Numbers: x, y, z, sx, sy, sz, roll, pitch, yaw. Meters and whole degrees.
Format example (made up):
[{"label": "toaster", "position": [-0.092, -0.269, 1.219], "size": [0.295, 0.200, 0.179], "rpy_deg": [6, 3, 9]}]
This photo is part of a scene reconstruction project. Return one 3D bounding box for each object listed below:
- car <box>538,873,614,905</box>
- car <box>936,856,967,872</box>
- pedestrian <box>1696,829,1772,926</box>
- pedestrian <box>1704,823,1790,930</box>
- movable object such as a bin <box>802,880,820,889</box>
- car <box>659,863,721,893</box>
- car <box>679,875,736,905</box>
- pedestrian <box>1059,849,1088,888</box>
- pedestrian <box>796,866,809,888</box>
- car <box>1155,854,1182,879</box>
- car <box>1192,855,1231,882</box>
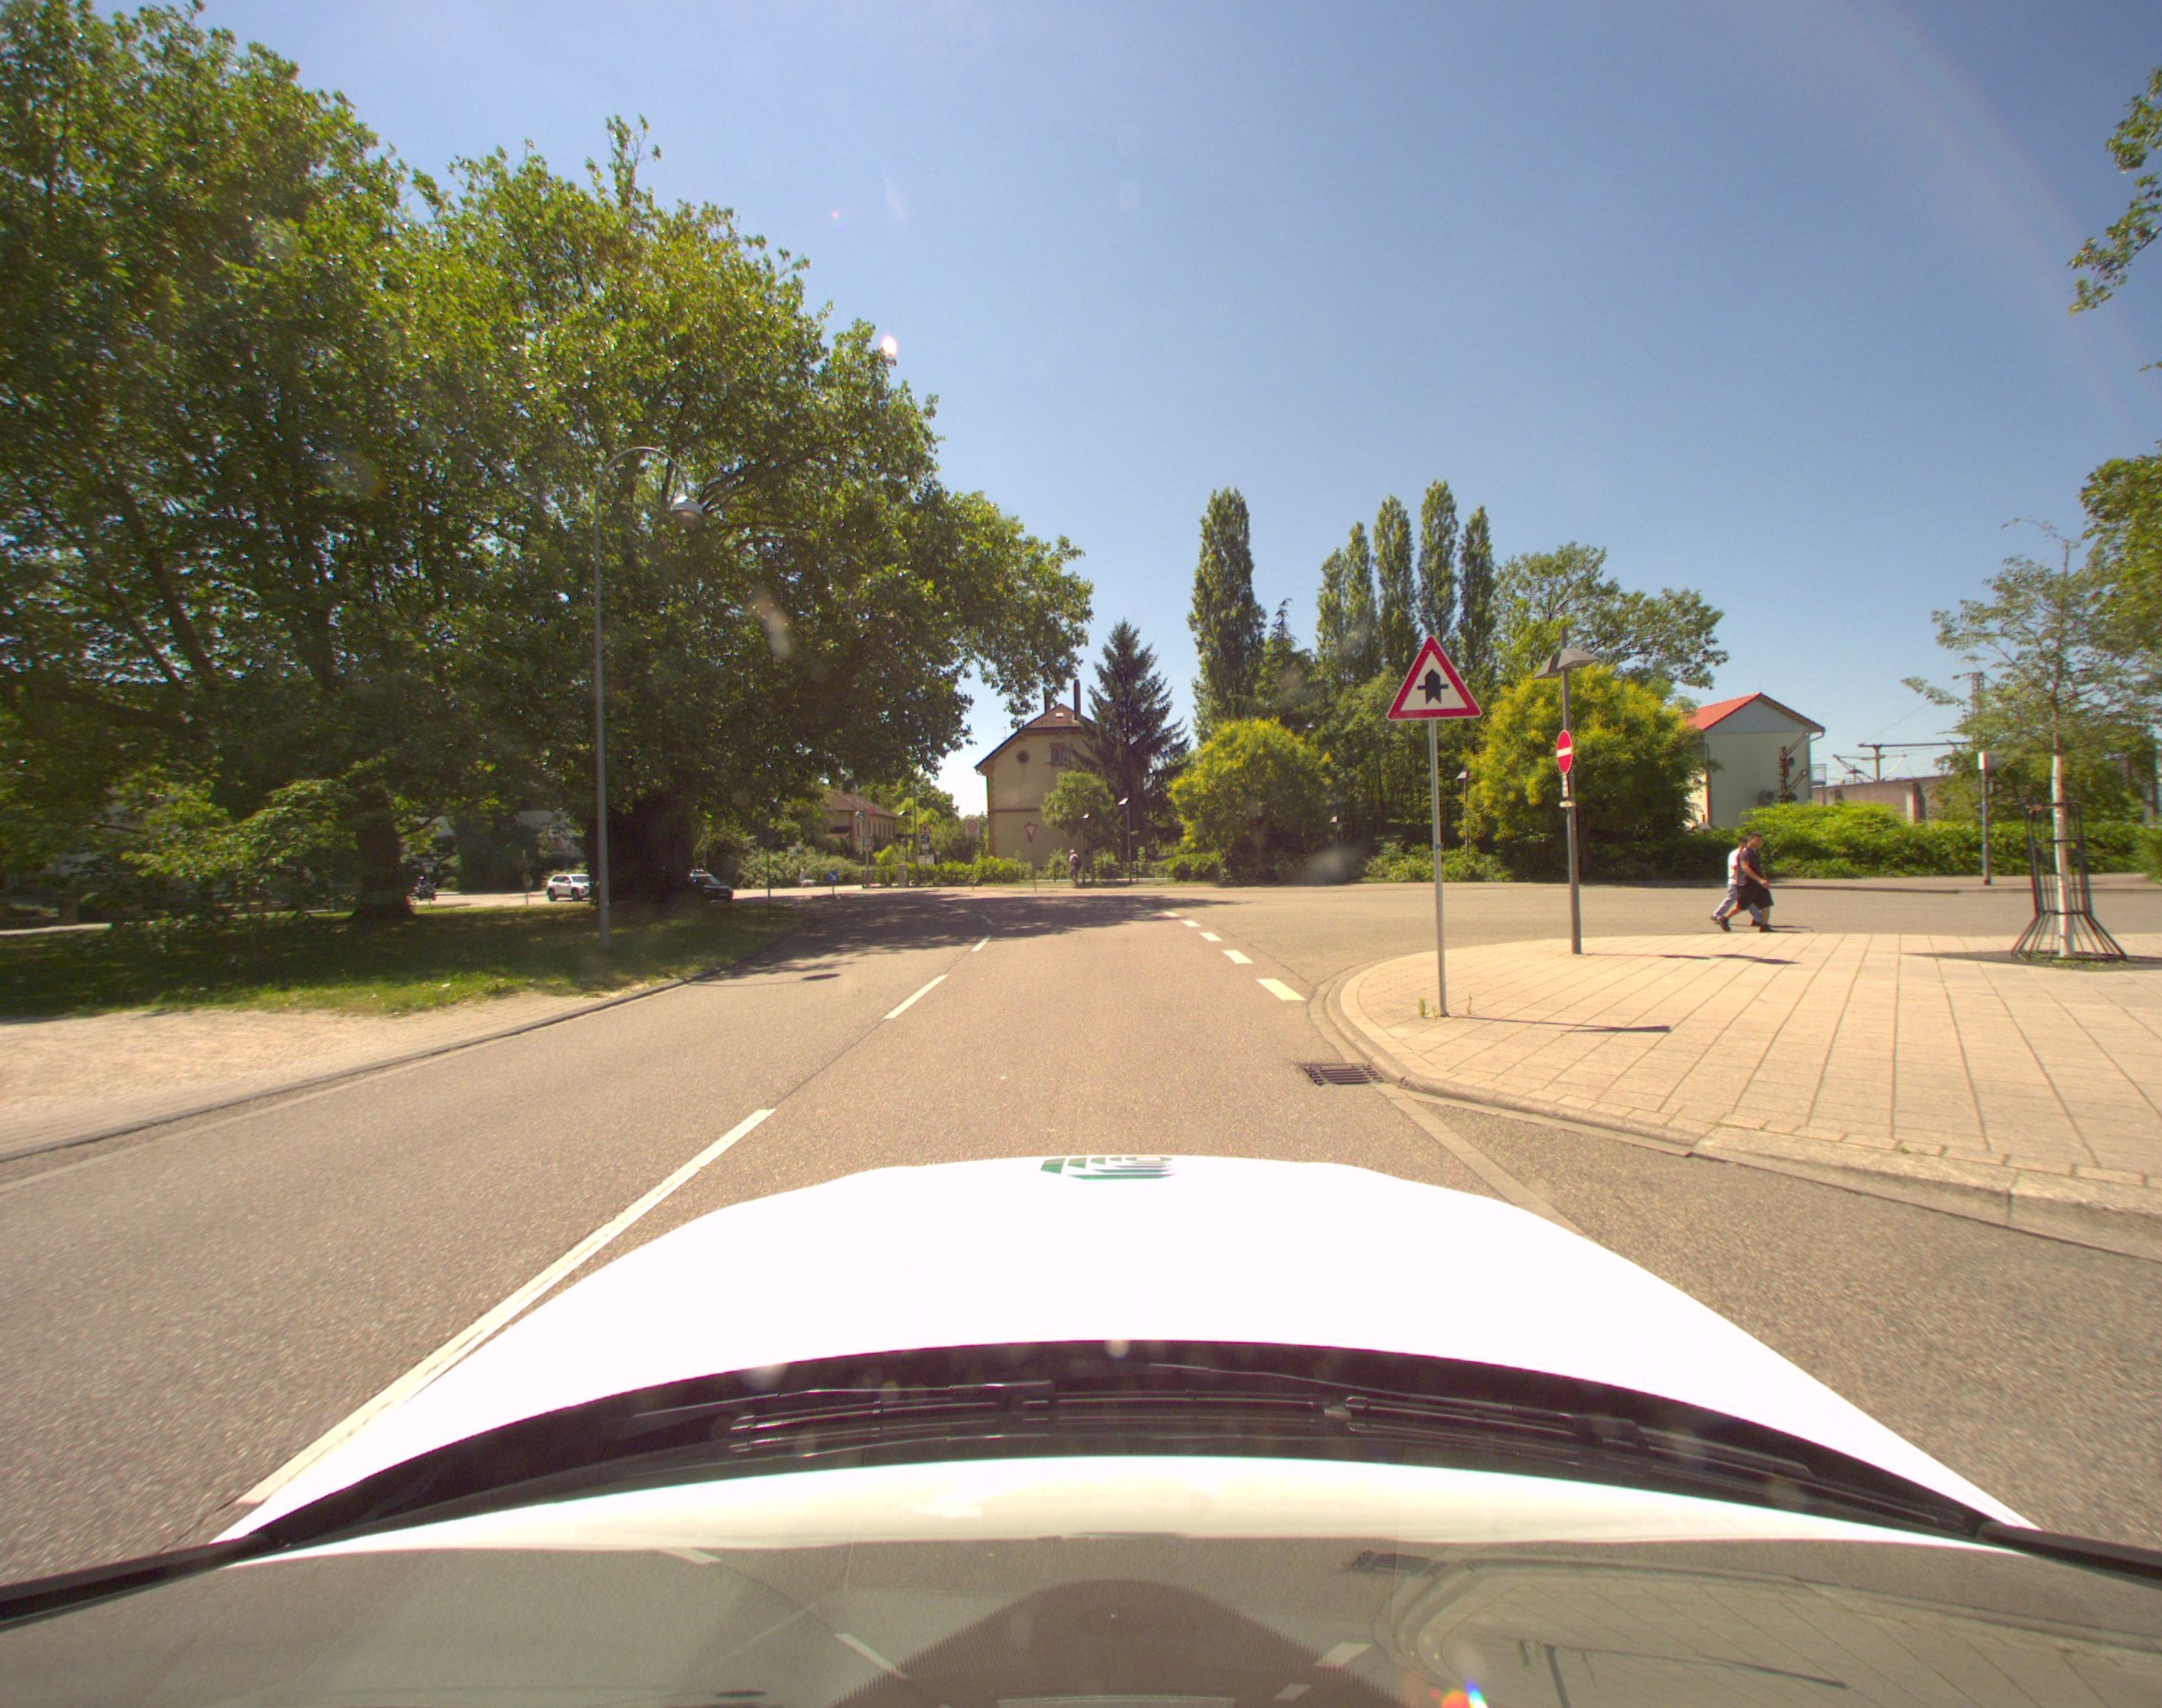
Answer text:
[{"label": "car", "position": [-31.276, 2.171, 50.460], "size": [4.268, 1.747, 2.062], "rpy_deg": [-3, 1, 29]}, {"label": "car", "position": [-20.546, 1.603, 129.089], "size": [4.424, 2.322, 2.205], "rpy_deg": [-2, 0, 4]}, {"label": "pedestrian", "position": [12.157, 0.421, 15.193], "size": [0.670, 1.736, 0.917], "rpy_deg": [-2, -1, 7]}, {"label": "pedestrian", "position": [11.617, 0.375, 14.231], "size": [0.691, 1.785, 0.913], "rpy_deg": [-2, -1, -4]}, {"label": "movable object such as a bin", "position": [-20.207, 2.308, 60.937], "size": [0.510, 0.594, 1.251], "rpy_deg": [-2, 0, 36]}, {"label": "car", "position": [-26.470, 1.656, 55.121], "size": [4.413, 1.615, 1.954], "rpy_deg": [-5, -9, 38]}, {"label": "car", "position": [-19.503, 1.856, 42.408], "size": [1.655, 1.417, 3.953], "rpy_deg": [-4, 1, -40]}, {"label": "pedestrian", "position": [-0.367, 0.701, 38.793], "size": [0.920, 1.771, 0.905], "rpy_deg": [-5, 2, -38]}, {"label": "pedestrian", "position": [-20.953, 1.741, 61.309], "size": [0.691, 1.627, 0.621], "rpy_deg": [0, 0, 34]}, {"label": "car", "position": [5.808, 0.798, 54.191], "size": [1.642, 1.536, 3.976], "rpy_deg": [-2, 0, 6]}, {"label": "car", "position": [7.876, 0.853, 49.606], "size": [1.758, 1.499, 4.502], "rpy_deg": [-2, 0, 2]}]
